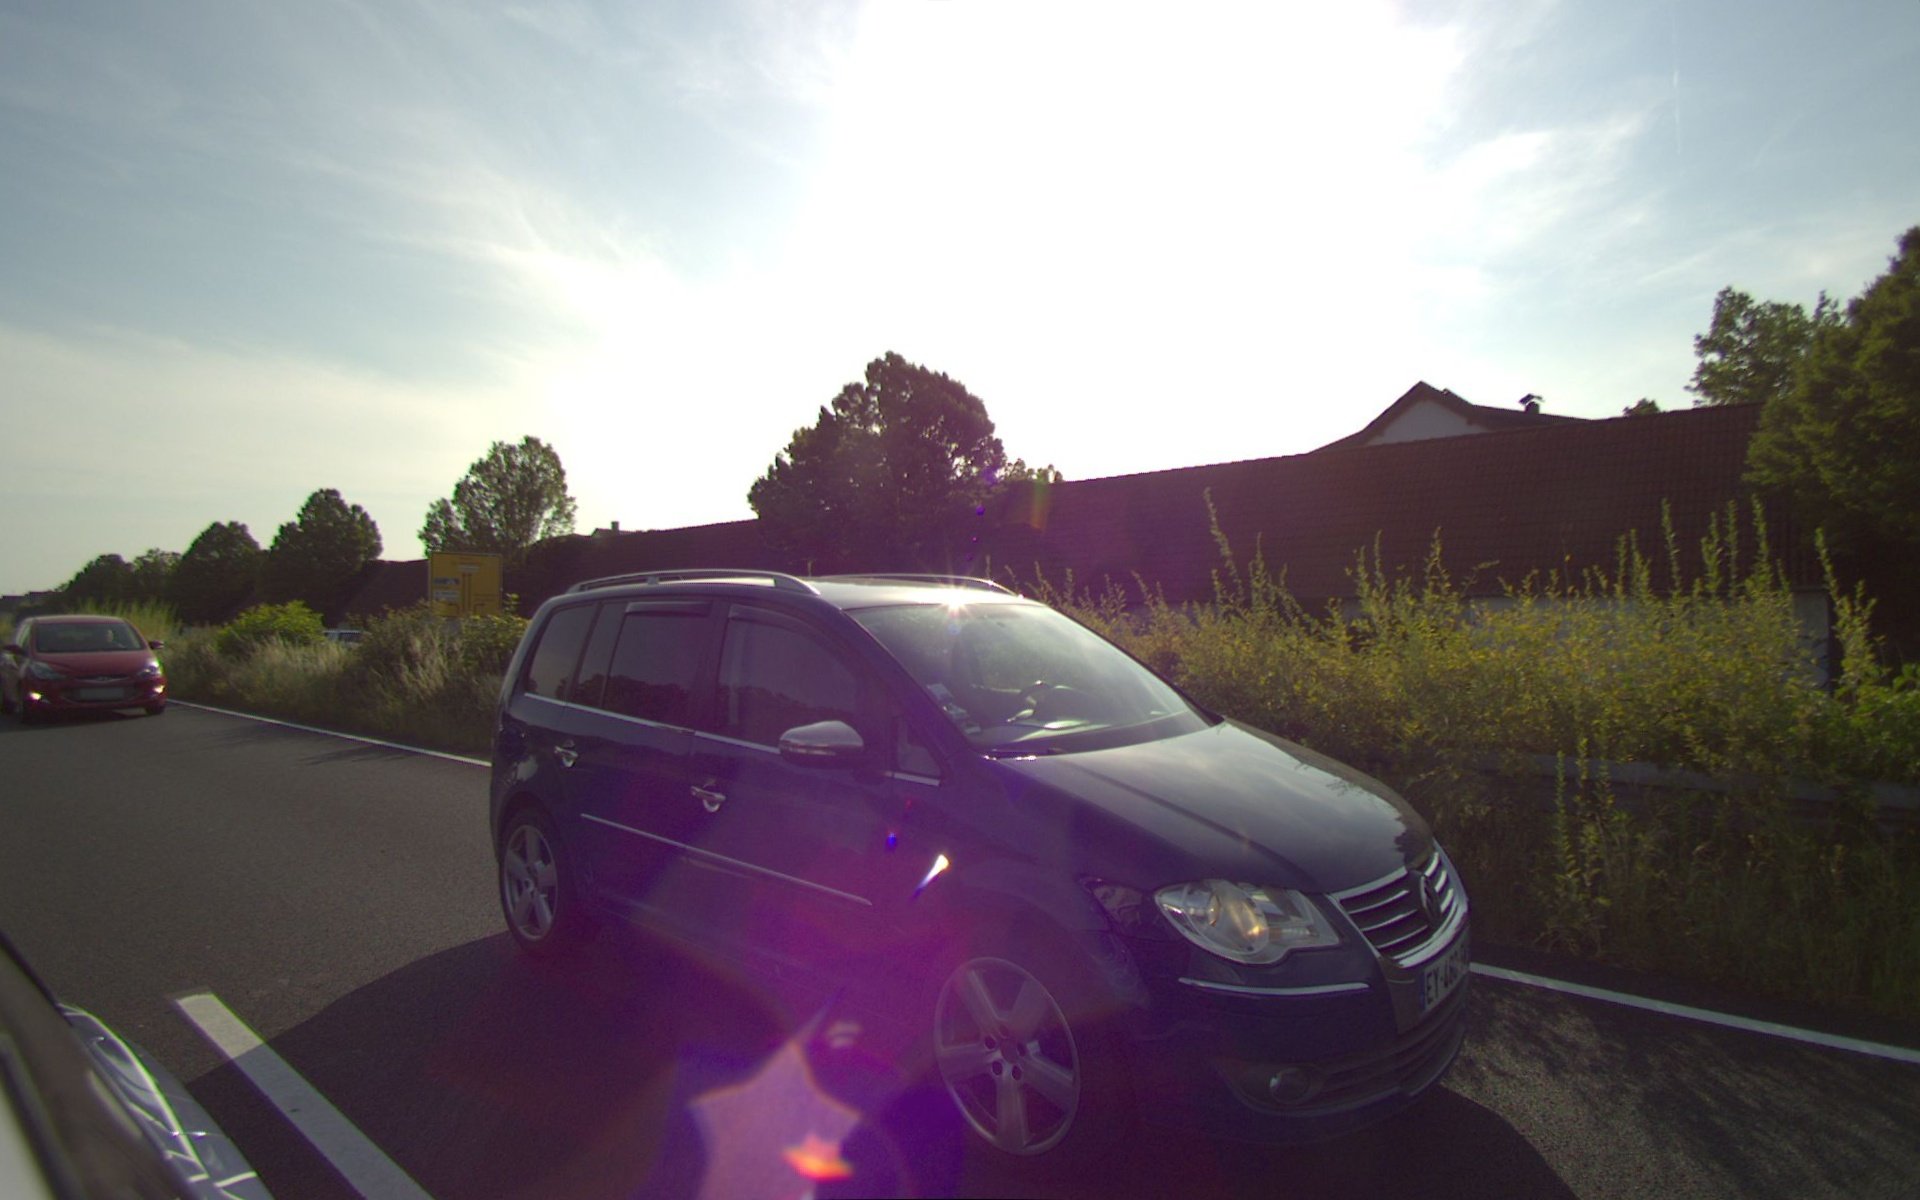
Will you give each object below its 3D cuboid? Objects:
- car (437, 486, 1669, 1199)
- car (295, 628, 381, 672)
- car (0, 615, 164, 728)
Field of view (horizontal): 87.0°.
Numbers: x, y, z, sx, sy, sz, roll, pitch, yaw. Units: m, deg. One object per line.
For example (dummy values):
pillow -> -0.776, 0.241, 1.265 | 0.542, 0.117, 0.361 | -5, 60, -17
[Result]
car -> -0.183, 0.642, 3.958 | 4.680, 1.633, 1.754 | -1, -1, 42
car -> -24.256, 1.914, 39.407 | 4.183, 1.520, 1.671 | -1, 0, 41
car -> -14.360, 1.036, 16.299 | 3.998, 1.557, 1.726 | -1, 0, 41
